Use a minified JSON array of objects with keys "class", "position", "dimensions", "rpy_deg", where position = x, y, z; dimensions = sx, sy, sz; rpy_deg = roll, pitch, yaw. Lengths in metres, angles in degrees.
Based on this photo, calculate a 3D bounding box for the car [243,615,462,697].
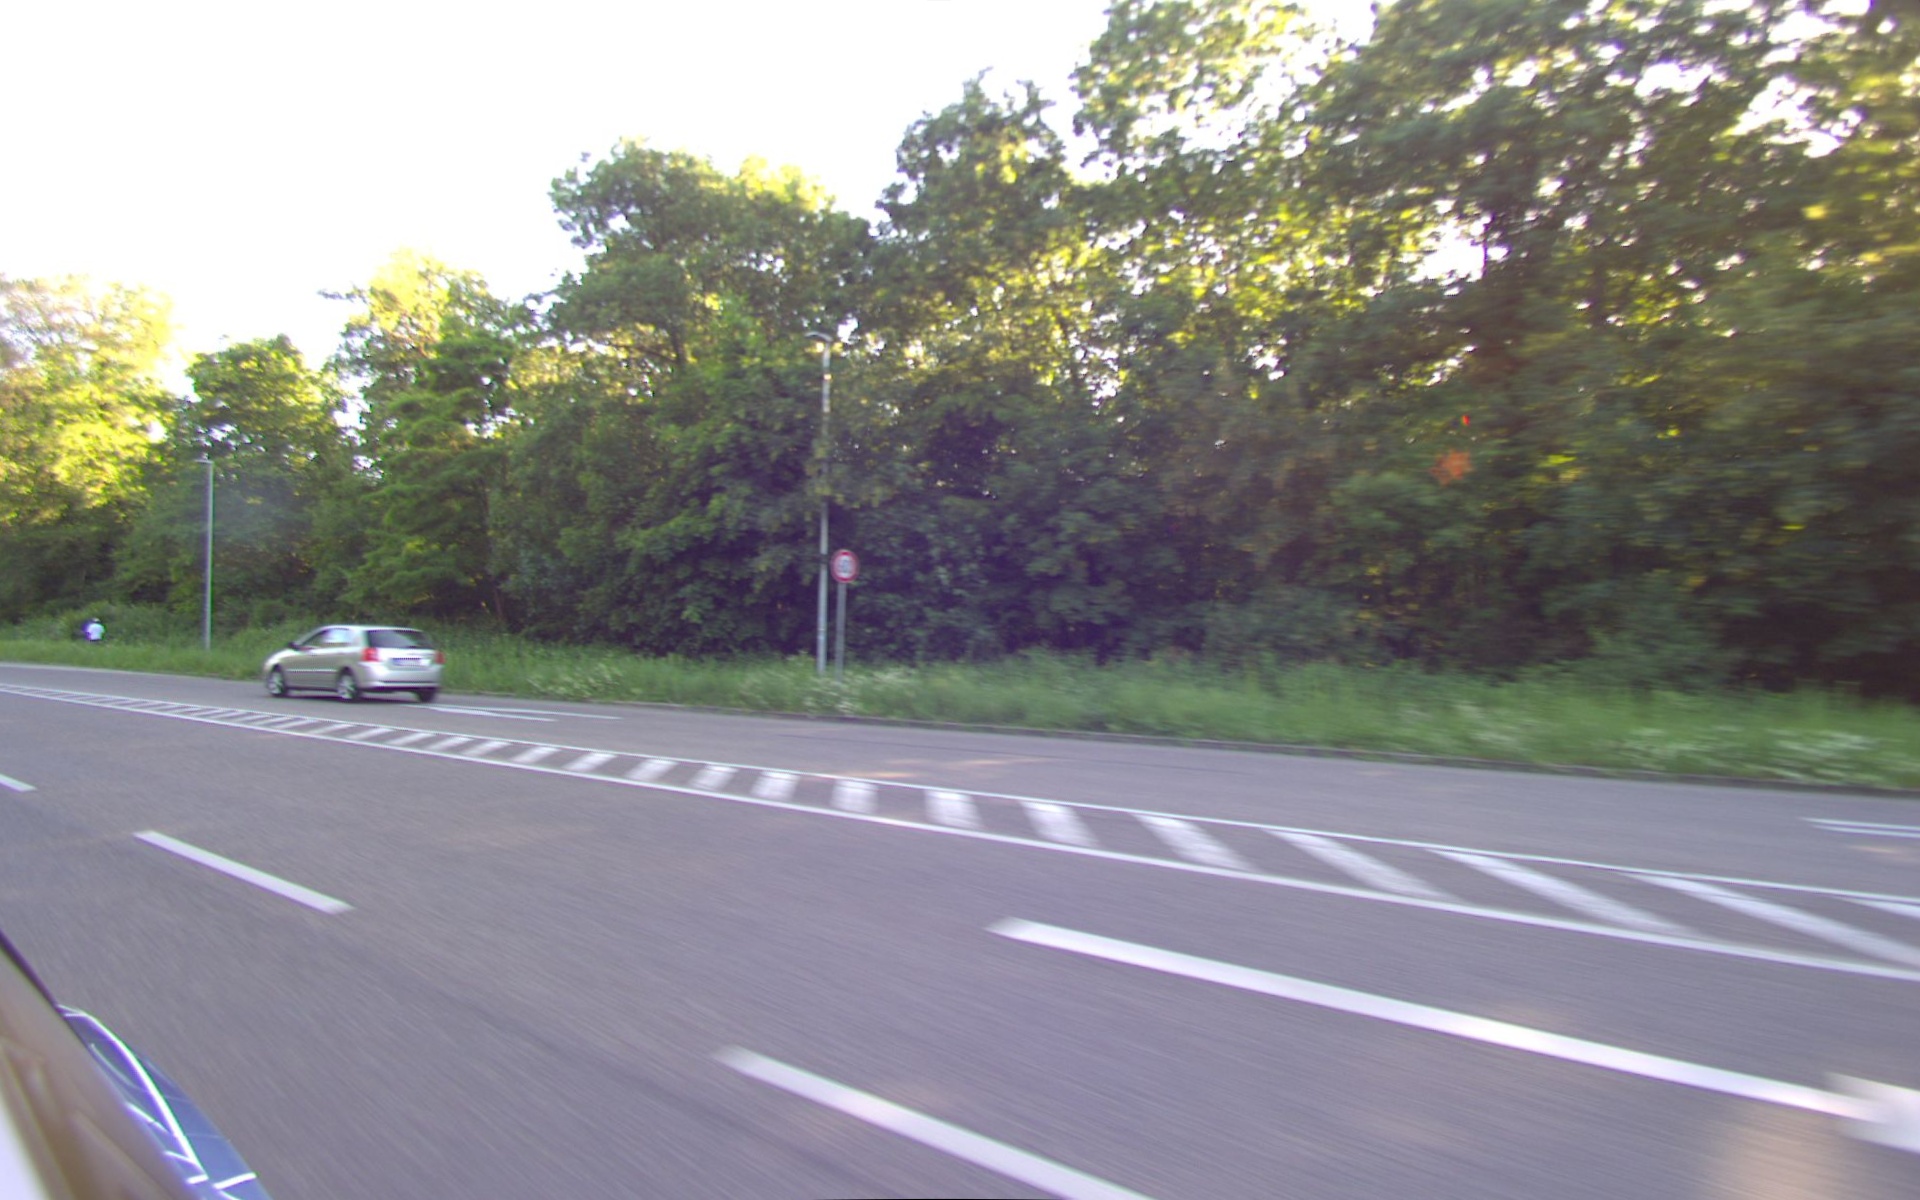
[{"class":"car","position":[-12.027,1.074,19.975],"dimensions":[4.465,1.466,1.815],"rpy_deg":[0,-4,32]}]

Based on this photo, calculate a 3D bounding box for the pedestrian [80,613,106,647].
[{"class":"pedestrian","position":[-40.709,1.420,47.506],"dimensions":[0.824,1.577,0.705],"rpy_deg":[-1,-3,36]}]
